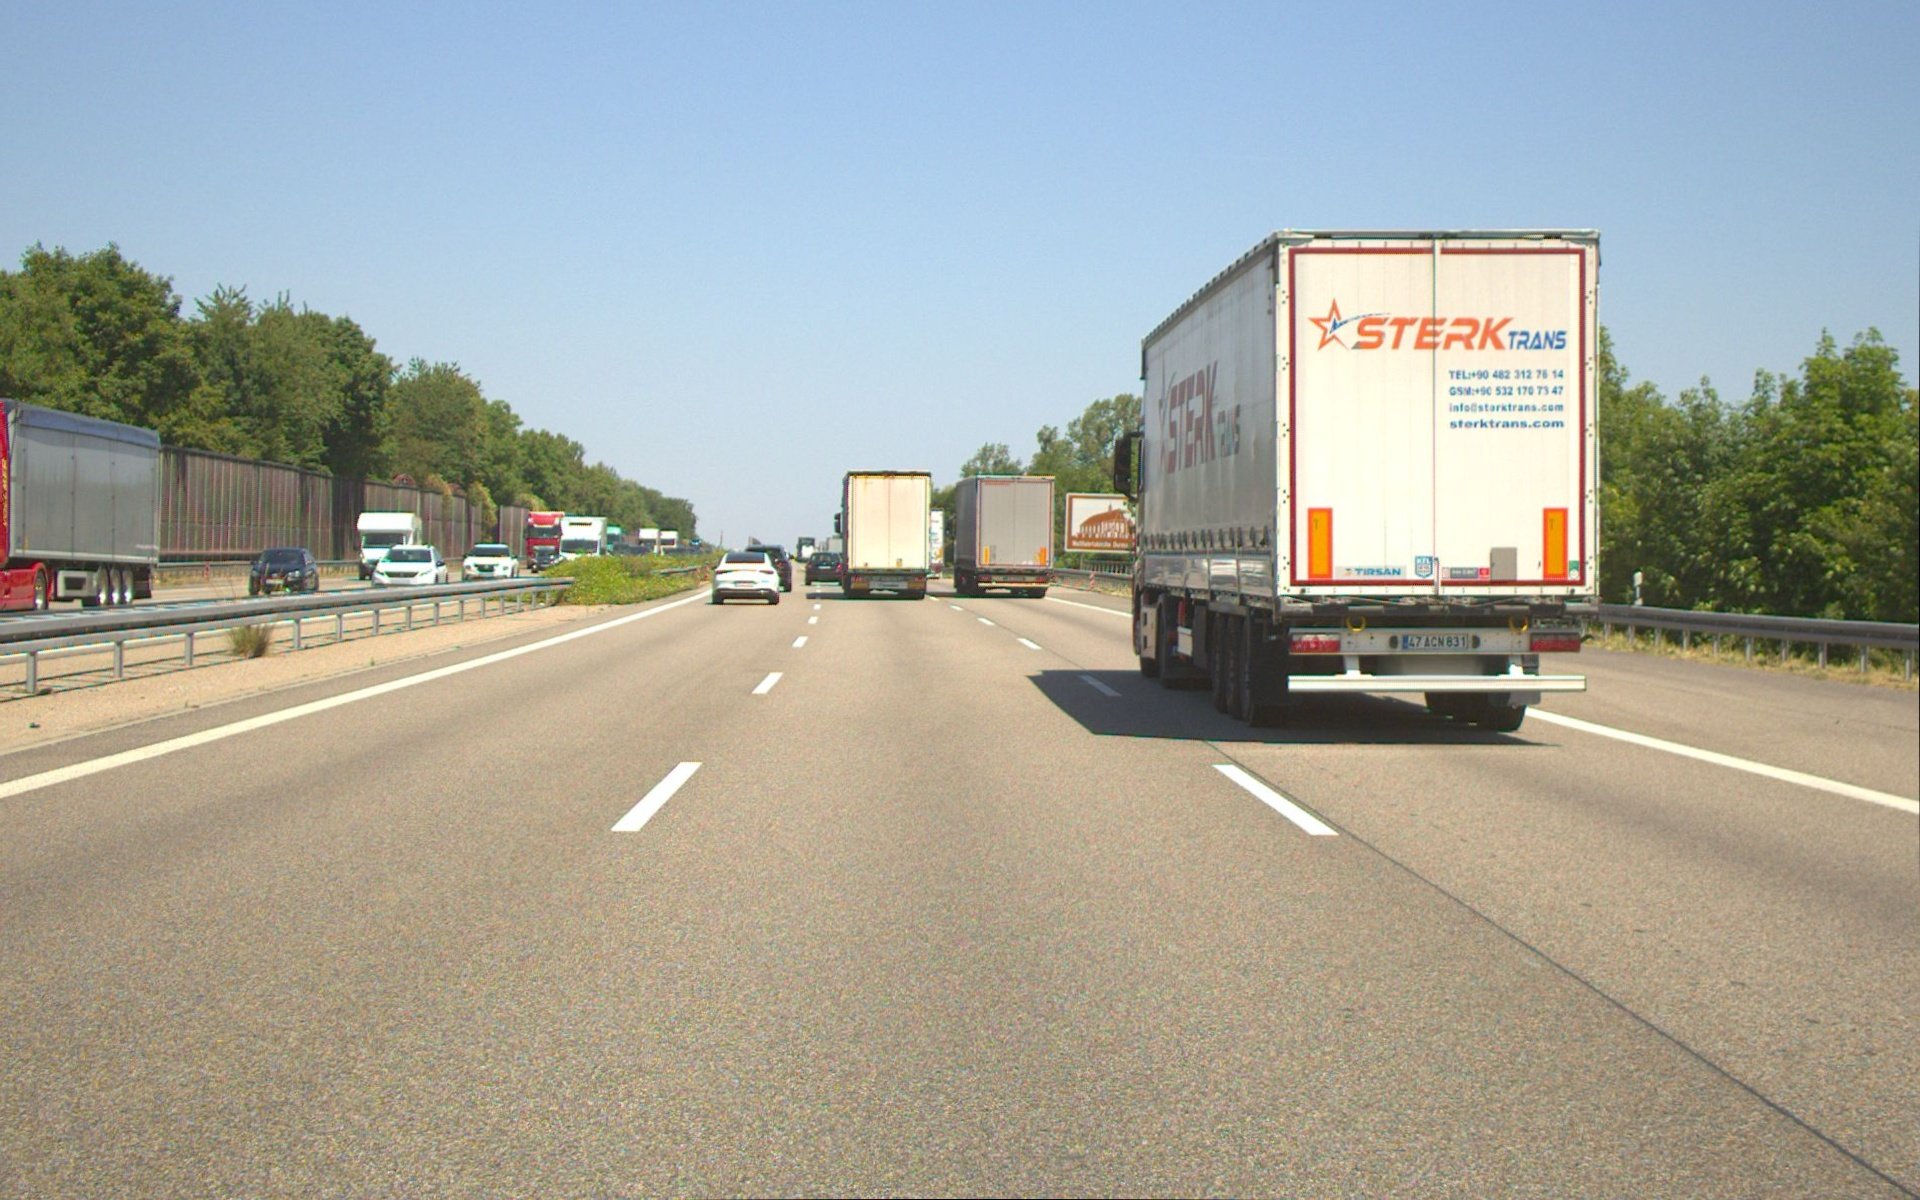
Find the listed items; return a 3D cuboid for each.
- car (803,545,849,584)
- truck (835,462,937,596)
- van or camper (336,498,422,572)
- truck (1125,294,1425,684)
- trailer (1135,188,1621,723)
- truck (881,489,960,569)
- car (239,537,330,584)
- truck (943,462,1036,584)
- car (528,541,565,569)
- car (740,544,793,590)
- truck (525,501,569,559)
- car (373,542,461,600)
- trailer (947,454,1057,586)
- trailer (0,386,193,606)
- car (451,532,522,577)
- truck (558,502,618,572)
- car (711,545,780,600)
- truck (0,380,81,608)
[{"bbox_3d":[-5.796,-1.535,148.075,1.855,1.611,4.001,1,1,-4],"label":"car"},{"bbox_3d":[-2.529,-2.262,112.915,2.706,4.072,13.475,2,0,-3],"label":"truck"},{"bbox_3d":[-24.985,-2.791,148.025,2.557,2.904,7.376,5,1,-3],"label":"van or camper"},{"bbox_3d":[3.500,-1.215,39.917,2.707,4.074,6.965,1,1,0],"label":"truck"},{"bbox_3d":[3.588,-1.200,33.630,2.707,4.074,14.152,1,1,-1],"label":"trailer"},{"bbox_3d":[-2.354,-4.134,199.969,3.373,4.289,11.452,4,1,-5],"label":"truck"},{"bbox_3d":[-20.314,-1.196,103.539,1.919,1.370,4.582,1,1,-2],"label":"car"},{"bbox_3d":[1.011,-2.746,124.318,2.691,4.201,7.839,2,0,-3],"label":"truck"},{"bbox_3d":[-24.220,-2.644,201.506,1.813,1.594,4.000,1,1,-2],"label":"car"},{"bbox_3d":[-7.076,-1.223,125.860,1.855,1.611,4.000,1,1,-3],"label":"car"},{"bbox_3d":[-29.661,-5.031,247.254,2.487,4.073,4.677,1,0,1],"label":"truck"},{"bbox_3d":[-14.967,-0.812,94.930,1.805,1.538,4.246,1,1,-1],"label":"car"},{"bbox_3d":[1.345,-2.667,118.609,2.703,4.201,13.214,2,0,-3],"label":"trailer"},{"bbox_3d":[-18.460,-2.044,70.859,2.341,4.062,14.210,1,1,-1],"label":"trailer"},{"bbox_3d":[-16.987,-1.630,123.496,1.919,1.541,4.582,1,1,-1],"label":"car"},{"bbox_3d":[-18.159,-3.069,167.966,2.409,3.341,6.920,1,1,-2],"label":"truck"},{"bbox_3d":[-5.997,-0.781,96.428,1.855,1.481,4.000,1,1,-3],"label":"car"},{"bbox_3d":[-18.349,-1.943,63.666,2.358,4.062,7.153,1,1,-1],"label":"truck"}]
